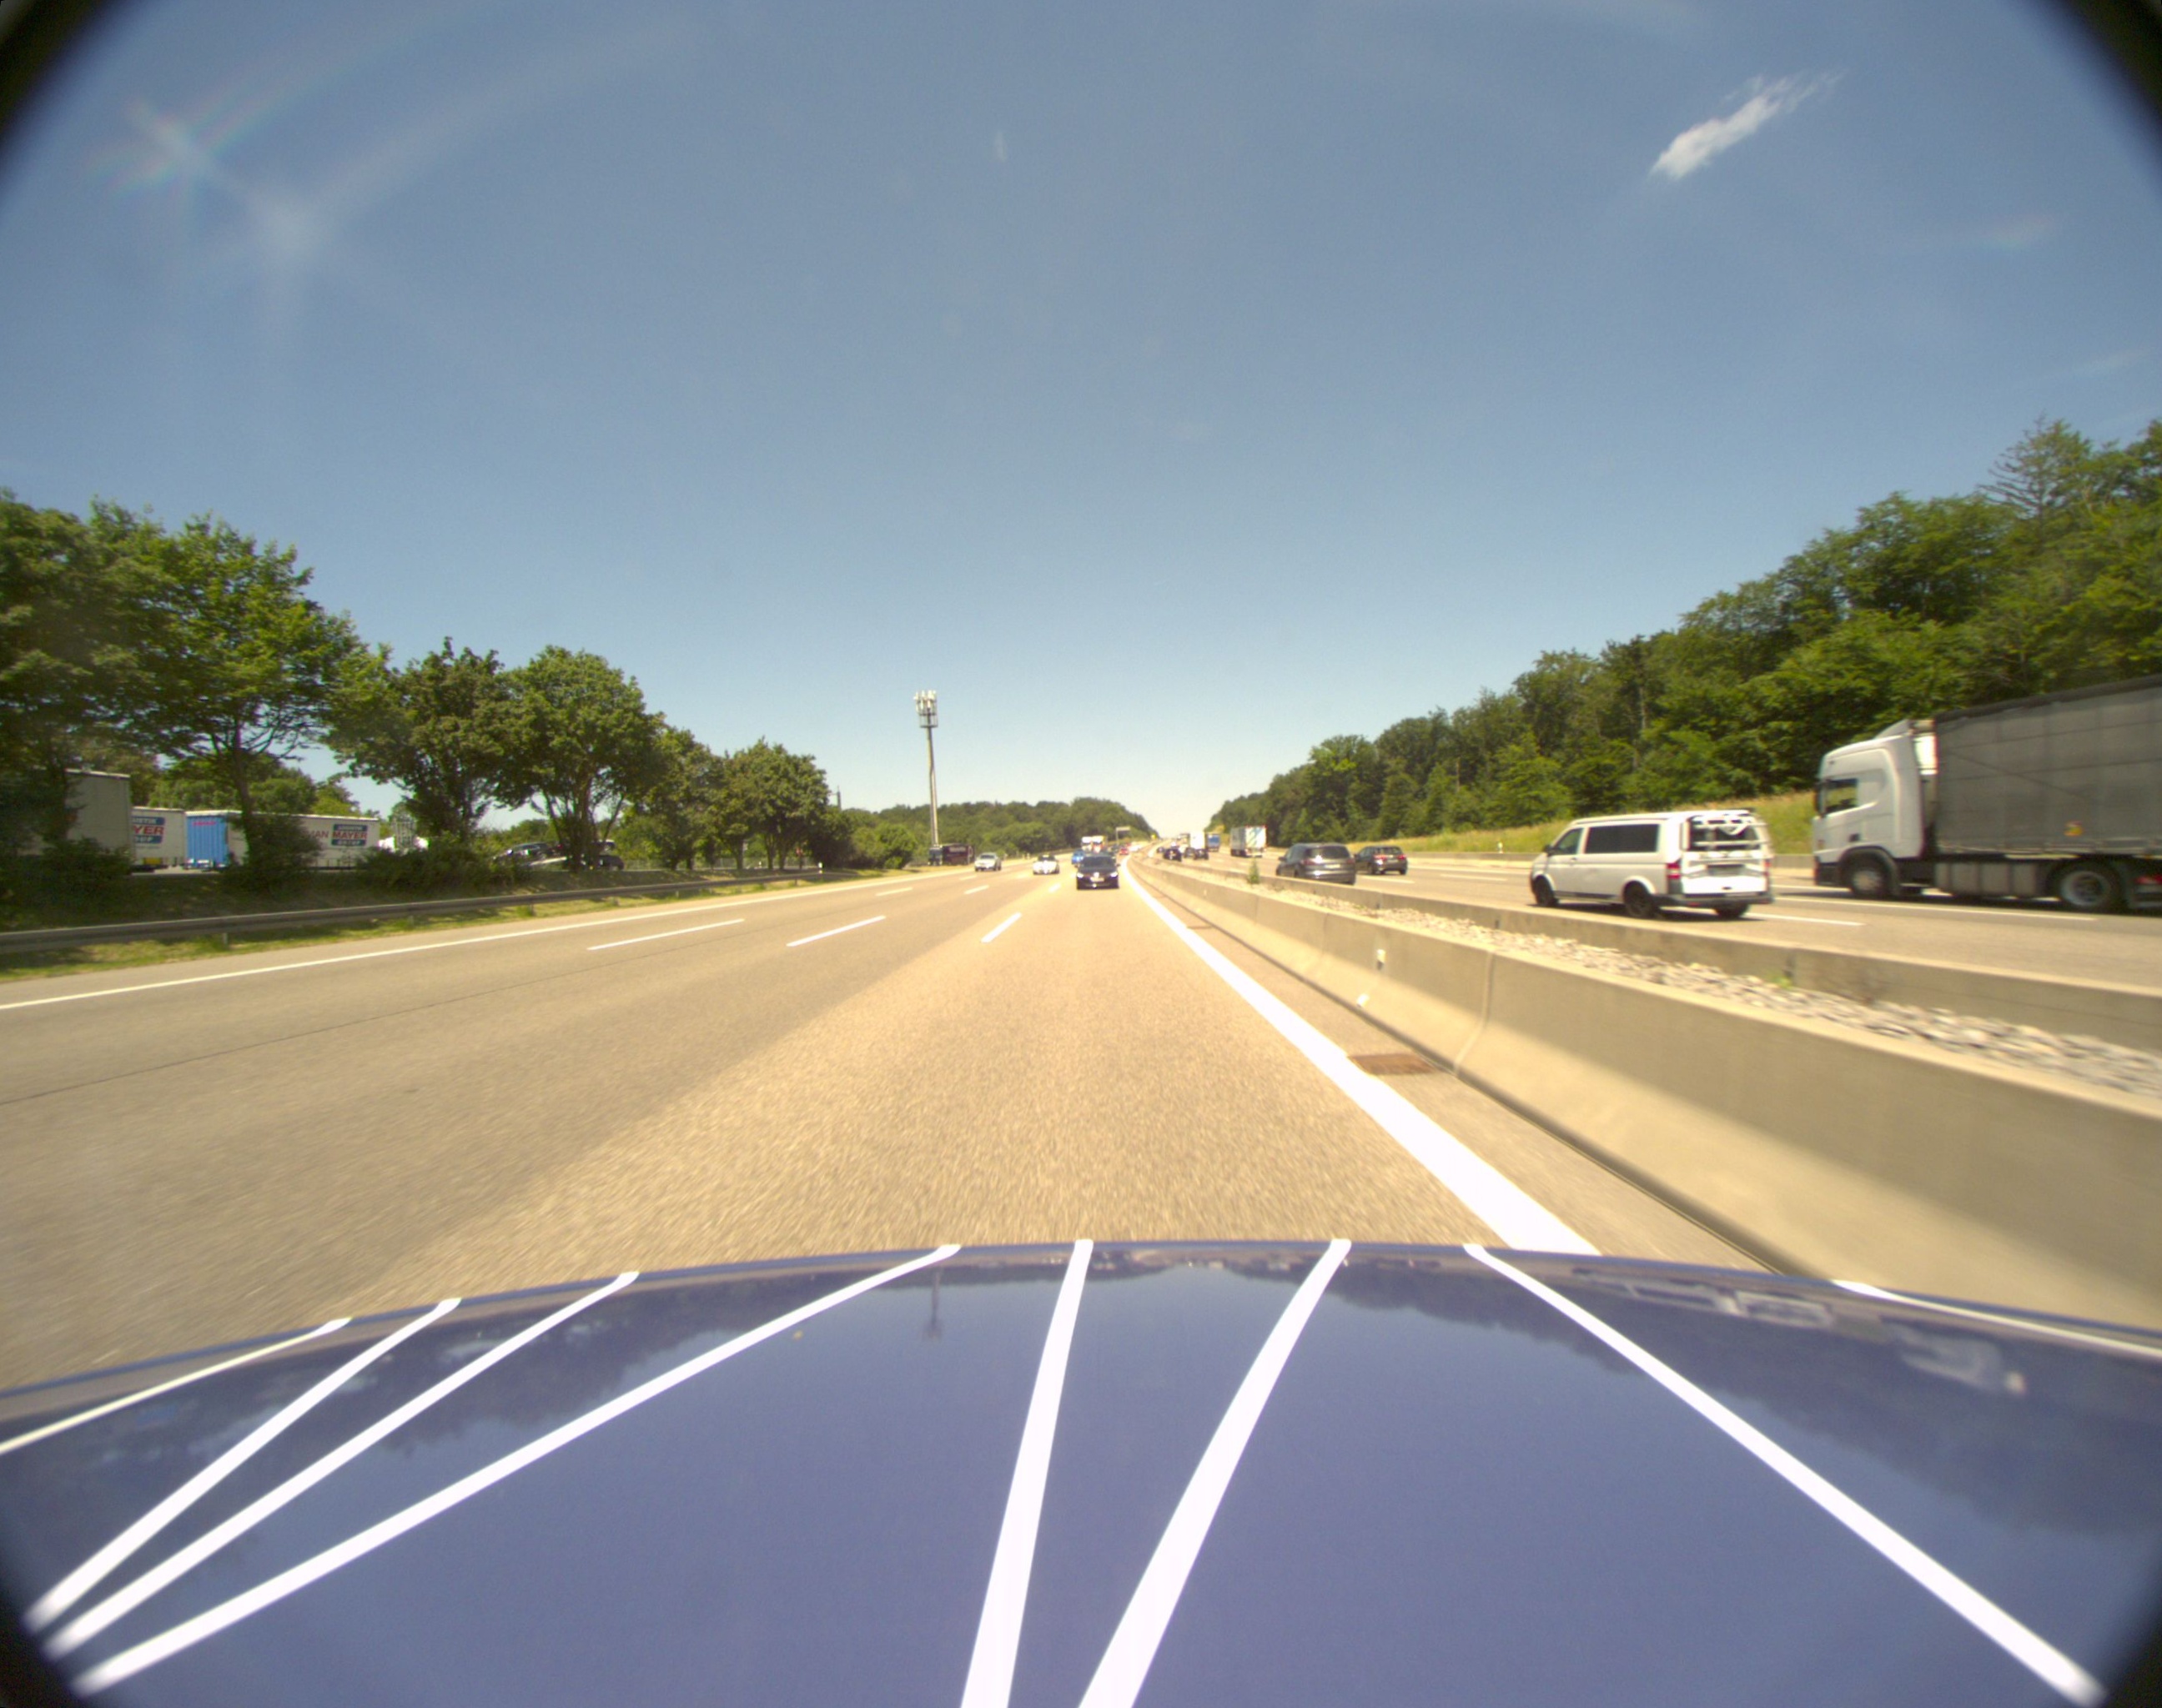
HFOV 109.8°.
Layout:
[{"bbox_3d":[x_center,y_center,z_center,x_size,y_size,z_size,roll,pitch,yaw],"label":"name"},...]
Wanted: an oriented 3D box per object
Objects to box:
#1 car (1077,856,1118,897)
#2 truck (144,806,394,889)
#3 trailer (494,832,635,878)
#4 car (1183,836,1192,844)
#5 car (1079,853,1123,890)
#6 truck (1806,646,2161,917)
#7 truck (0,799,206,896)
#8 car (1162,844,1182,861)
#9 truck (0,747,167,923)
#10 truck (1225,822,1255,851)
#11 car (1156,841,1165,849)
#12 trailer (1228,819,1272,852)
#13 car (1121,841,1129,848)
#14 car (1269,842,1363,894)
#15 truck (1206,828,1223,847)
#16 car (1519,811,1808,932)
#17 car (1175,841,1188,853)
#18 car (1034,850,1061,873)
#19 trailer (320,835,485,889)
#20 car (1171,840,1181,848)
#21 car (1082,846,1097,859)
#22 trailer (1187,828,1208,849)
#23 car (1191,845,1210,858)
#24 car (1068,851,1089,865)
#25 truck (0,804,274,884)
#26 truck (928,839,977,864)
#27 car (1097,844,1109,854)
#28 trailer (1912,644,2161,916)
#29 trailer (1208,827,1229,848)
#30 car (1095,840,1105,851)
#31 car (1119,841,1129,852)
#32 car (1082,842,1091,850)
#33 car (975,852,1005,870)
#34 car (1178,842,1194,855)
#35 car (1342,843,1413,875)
[{"bbox_3d":[0.640,0.824,29.387,1.447,1.376,3.049,-2,1,2],"label":"car"},{"bbox_3d":[-43.345,-0.394,41.262,2.971,3.855,9.263,-2,1,4],"label":"truck"},{"bbox_3d":[-46.538,-0.012,68.902,2.237,3.696,10.135,-1,2,44],"label":"trailer"},{"bbox_3d":[29.199,-3.878,208.317,2.081,1.954,5.025,-2,1,3],"label":"car"},{"bbox_3d":[0.921,0.715,33.098,1.760,1.430,4.000,-2,1,3],"label":"car"},{"bbox_3d":[18.880,-1.270,14.960,3.050,4.347,6.454,-3,1,1],"label":"truck"},{"bbox_3d":[-44.083,-0.212,31.490,2.940,3.833,10.389,-2,1,4],"label":"truck"},{"bbox_3d":[10.165,-0.232,84.845,1.832,1.819,4.985,-2,1,3],"label":"car"},{"bbox_3d":[-34.355,-0.484,18.494,3.527,5.289,16.390,-2,0,3],"label":"truck"},{"bbox_3d":[22.985,-2.496,110.033,3.228,3.980,6.415,-3,1,3],"label":"truck"},{"bbox_3d":[16.886,-1.864,160.810,1.753,1.510,4.827,-2,1,5],"label":"car"},{"bbox_3d":[22.622,-2.384,102.960,3.237,4.014,15.287,-2,1,3],"label":"trailer"},{"bbox_3d":[13.482,-2.807,232.134,1.999,2.002,3.999,-3,1,-1],"label":"car"},{"bbox_3d":[8.225,0.425,27.061,1.877,1.624,5.163,-2,1,2],"label":"car"},{"bbox_3d":[28.414,-3.483,162.116,2.727,3.991,6.938,-2,1,3],"label":"truck"},{"bbox_3d":[11.360,0.278,15.451,2.007,2.002,5.185,-2,1,2],"label":"car"},{"bbox_3d":[16.813,-1.210,127.279,1.822,1.792,4.891,-2,1,2],"label":"car"},{"bbox_3d":[-2.432,0.529,56.161,1.729,1.521,3.741,-2,1,1],"label":"car"},{"bbox_3d":[-54.241,0.540,61.106,9.613,4.012,2.309,-2,1,-43],"label":"trailer"},{"bbox_3d":[20.417,-2.077,162.996,1.801,1.630,4.545,-2,1,4],"label":"car"},{"bbox_3d":[1.343,-0.251,118.081,1.998,2.002,4.000,-2,1,3],"label":"car"},{"bbox_3d":[23.364,-3.119,152.767,2.943,4.077,12.154,-2,1,3],"label":"trailer"},{"bbox_3d":[14.556,-0.336,92.913,1.779,1.456,3.999,-3,1,2],"label":"car"},{"bbox_3d":[-0.283,0.453,90.882,1.998,1.521,4.235,-2,1,5],"label":"car"},{"bbox_3d":[-66.116,-0.725,50.701,16.383,4.960,2.957,-4,2,-41],"label":"truck"},{"bbox_3d":[-20.696,-0.486,123.411,2.749,3.551,12.336,-2,1,15],"label":"truck"},{"bbox_3d":[4.120,-0.949,142.342,1.998,1.848,3.999,-3,1,0],"label":"car"},{"bbox_3d":[18.751,-1.172,8.692,3.039,4.335,14.274,-3,1,1],"label":"trailer"},{"bbox_3d":[28.053,-3.340,155.264,2.729,3.901,10.764,-2,1,3],"label":"trailer"},{"bbox_3d":[4.422,-1.951,178.489,2.234,2.372,4.161,-3,1,1],"label":"car"},{"bbox_3d":[8.705,-1.434,153.589,1.998,2.001,4.002,-3,-1,4],"label":"car"},{"bbox_3d":[1.456,-2.025,196.610,1.898,2.002,3.808,-3,1,3],"label":"car"},{"bbox_3d":[-8.245,0.628,69.301,1.998,1.521,4.000,-2,1,3],"label":"car"},{"bbox_3d":[14.727,-0.761,106.976,1.922,1.674,4.000,-2,1,4],"label":"car"},{"bbox_3d":[15.240,0.212,39.333,1.998,1.487,4.798,-2,0,3],"label":"car"}]
